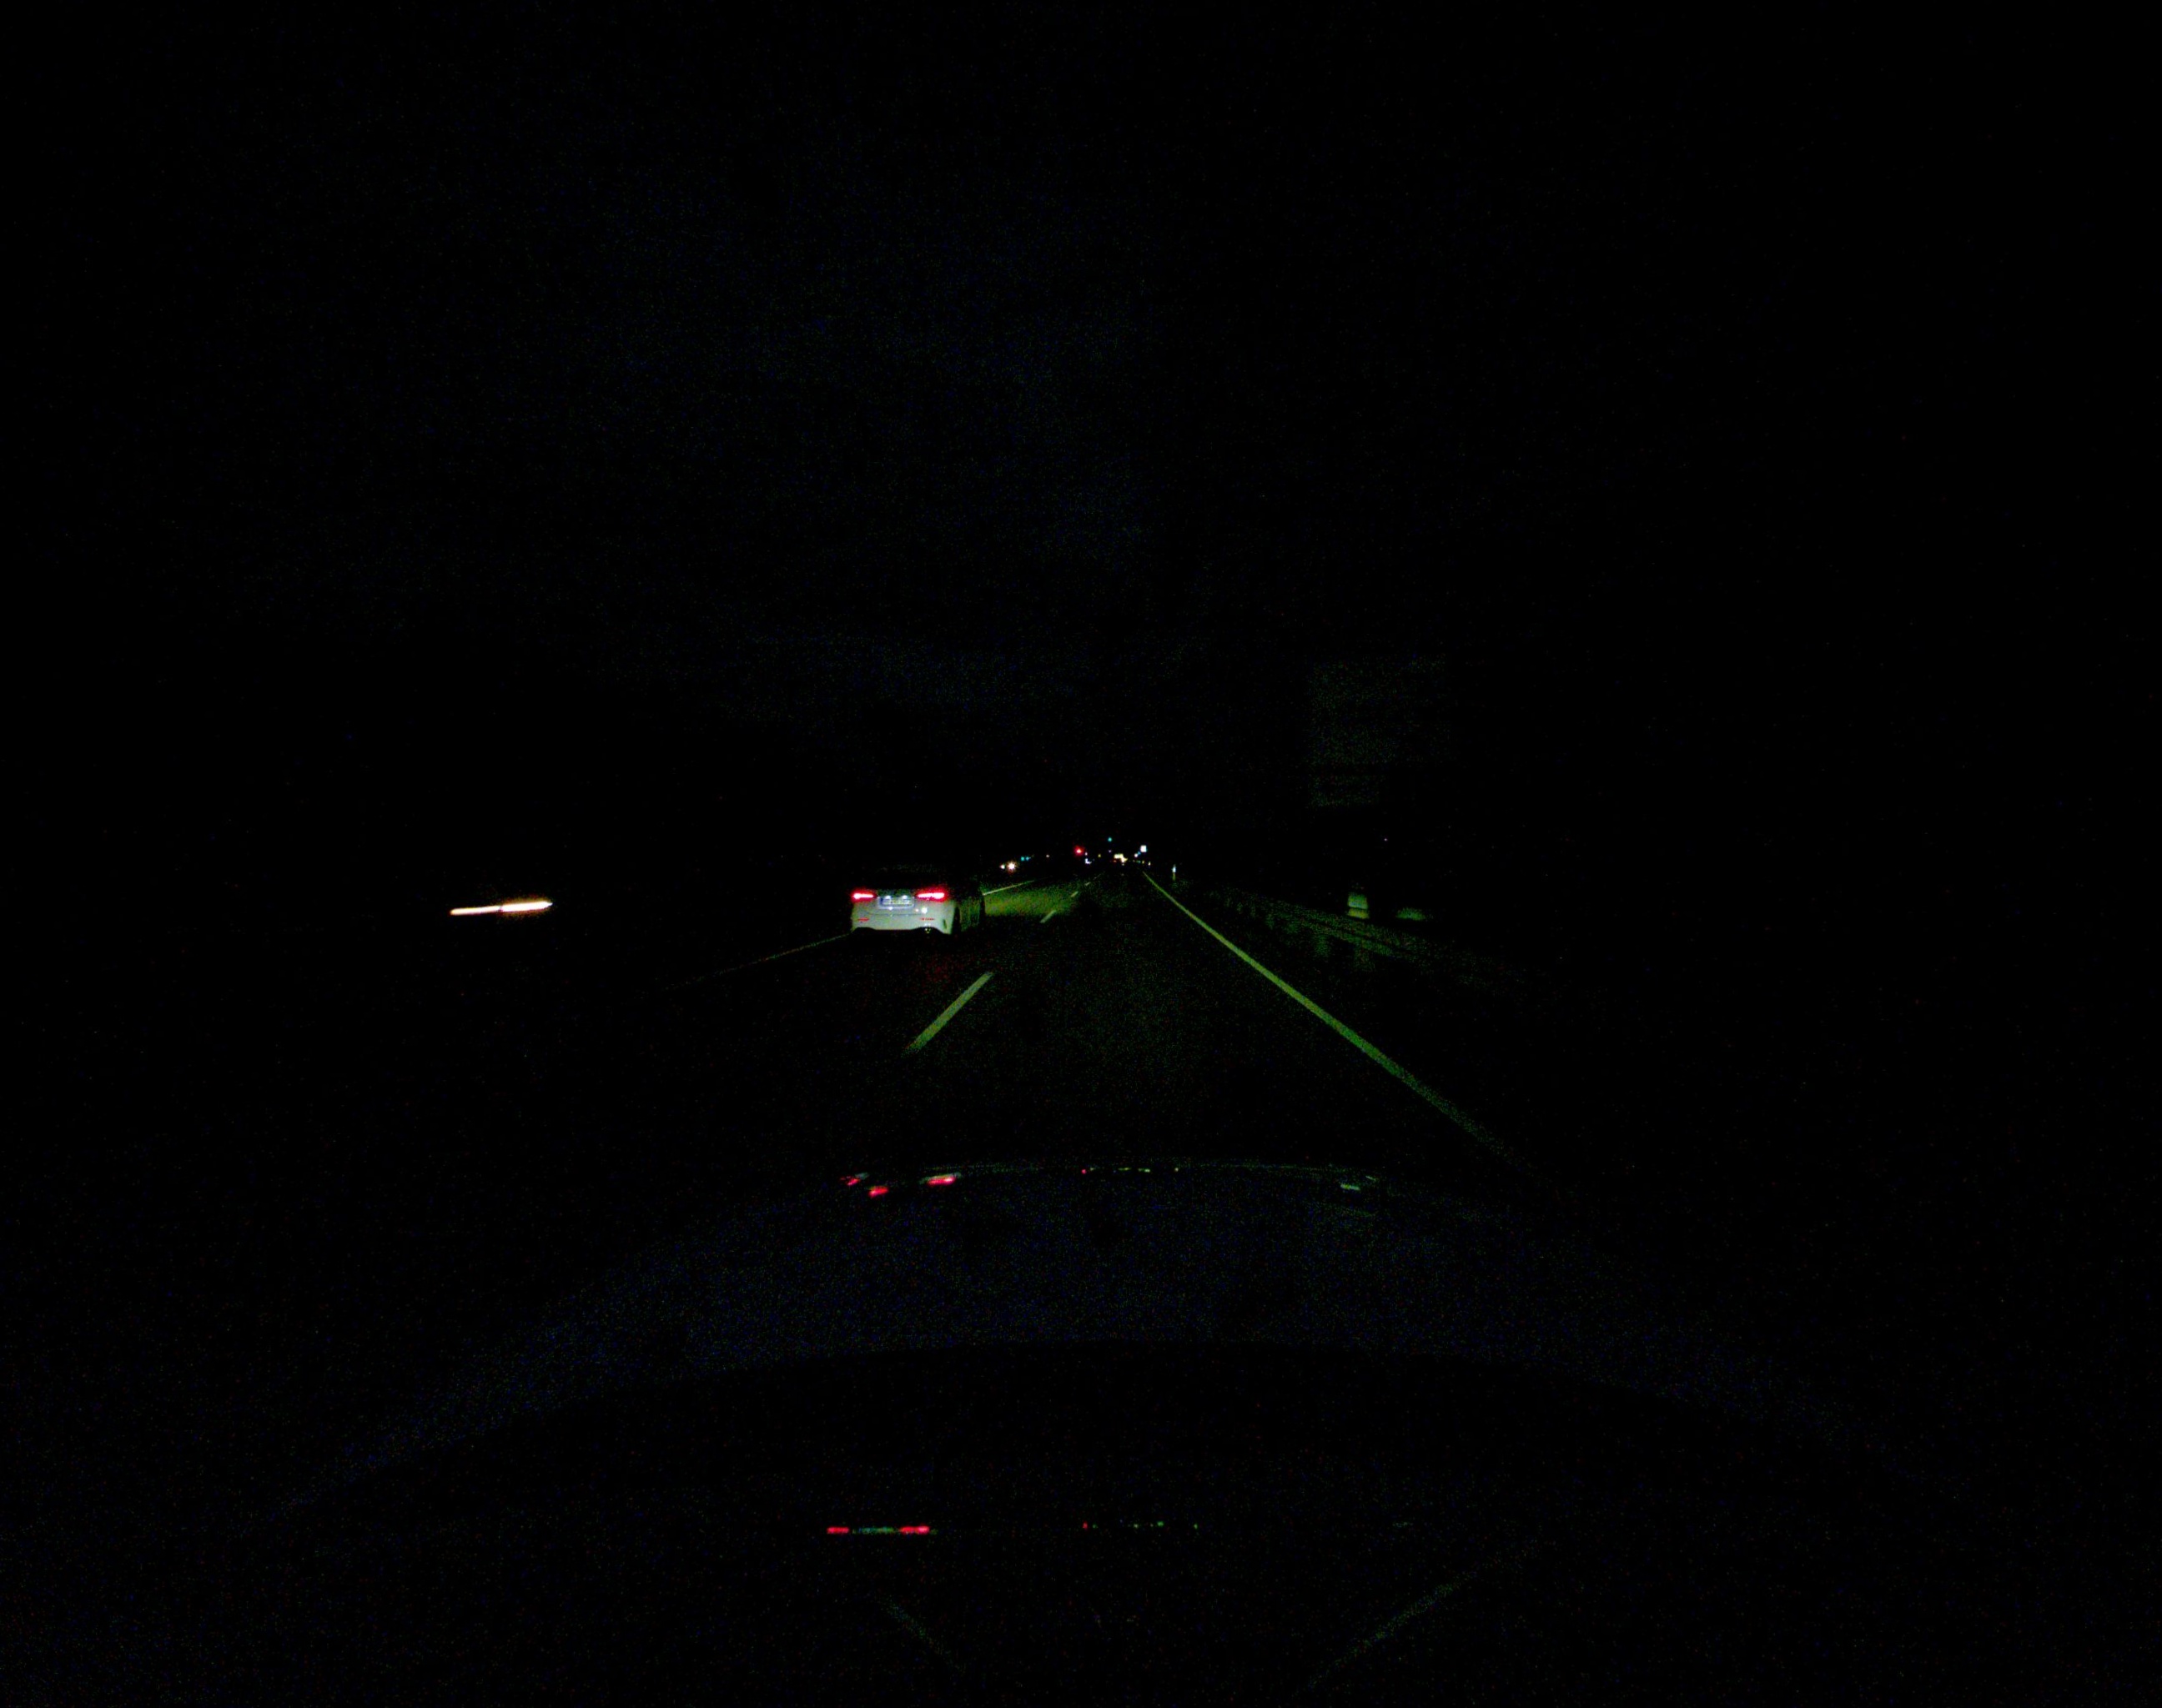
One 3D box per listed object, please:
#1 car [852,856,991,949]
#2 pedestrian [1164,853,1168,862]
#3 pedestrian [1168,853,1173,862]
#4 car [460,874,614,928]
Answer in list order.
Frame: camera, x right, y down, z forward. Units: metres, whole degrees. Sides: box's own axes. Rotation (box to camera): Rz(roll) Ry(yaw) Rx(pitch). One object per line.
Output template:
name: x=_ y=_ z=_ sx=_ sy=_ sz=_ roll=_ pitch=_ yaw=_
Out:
car: x=-2.836 y=0.792 z=15.440 sx=1.636 sy=1.490 sz=4.580 roll=-1 pitch=0 yaw=1
pedestrian: x=18.406 y=0.717 z=176.119 sx=0.918 sy=1.793 sz=1.107 roll=-1 pitch=0 yaw=3
pedestrian: x=19.354 y=0.755 z=176.034 sx=1.086 sy=1.723 sz=1.261 roll=-1 pitch=-1 yaw=2
car: x=-15.336 y=1.273 z=23.237 sx=1.623 sy=1.323 sz=3.942 roll=-1 pitch=0 yaw=2
